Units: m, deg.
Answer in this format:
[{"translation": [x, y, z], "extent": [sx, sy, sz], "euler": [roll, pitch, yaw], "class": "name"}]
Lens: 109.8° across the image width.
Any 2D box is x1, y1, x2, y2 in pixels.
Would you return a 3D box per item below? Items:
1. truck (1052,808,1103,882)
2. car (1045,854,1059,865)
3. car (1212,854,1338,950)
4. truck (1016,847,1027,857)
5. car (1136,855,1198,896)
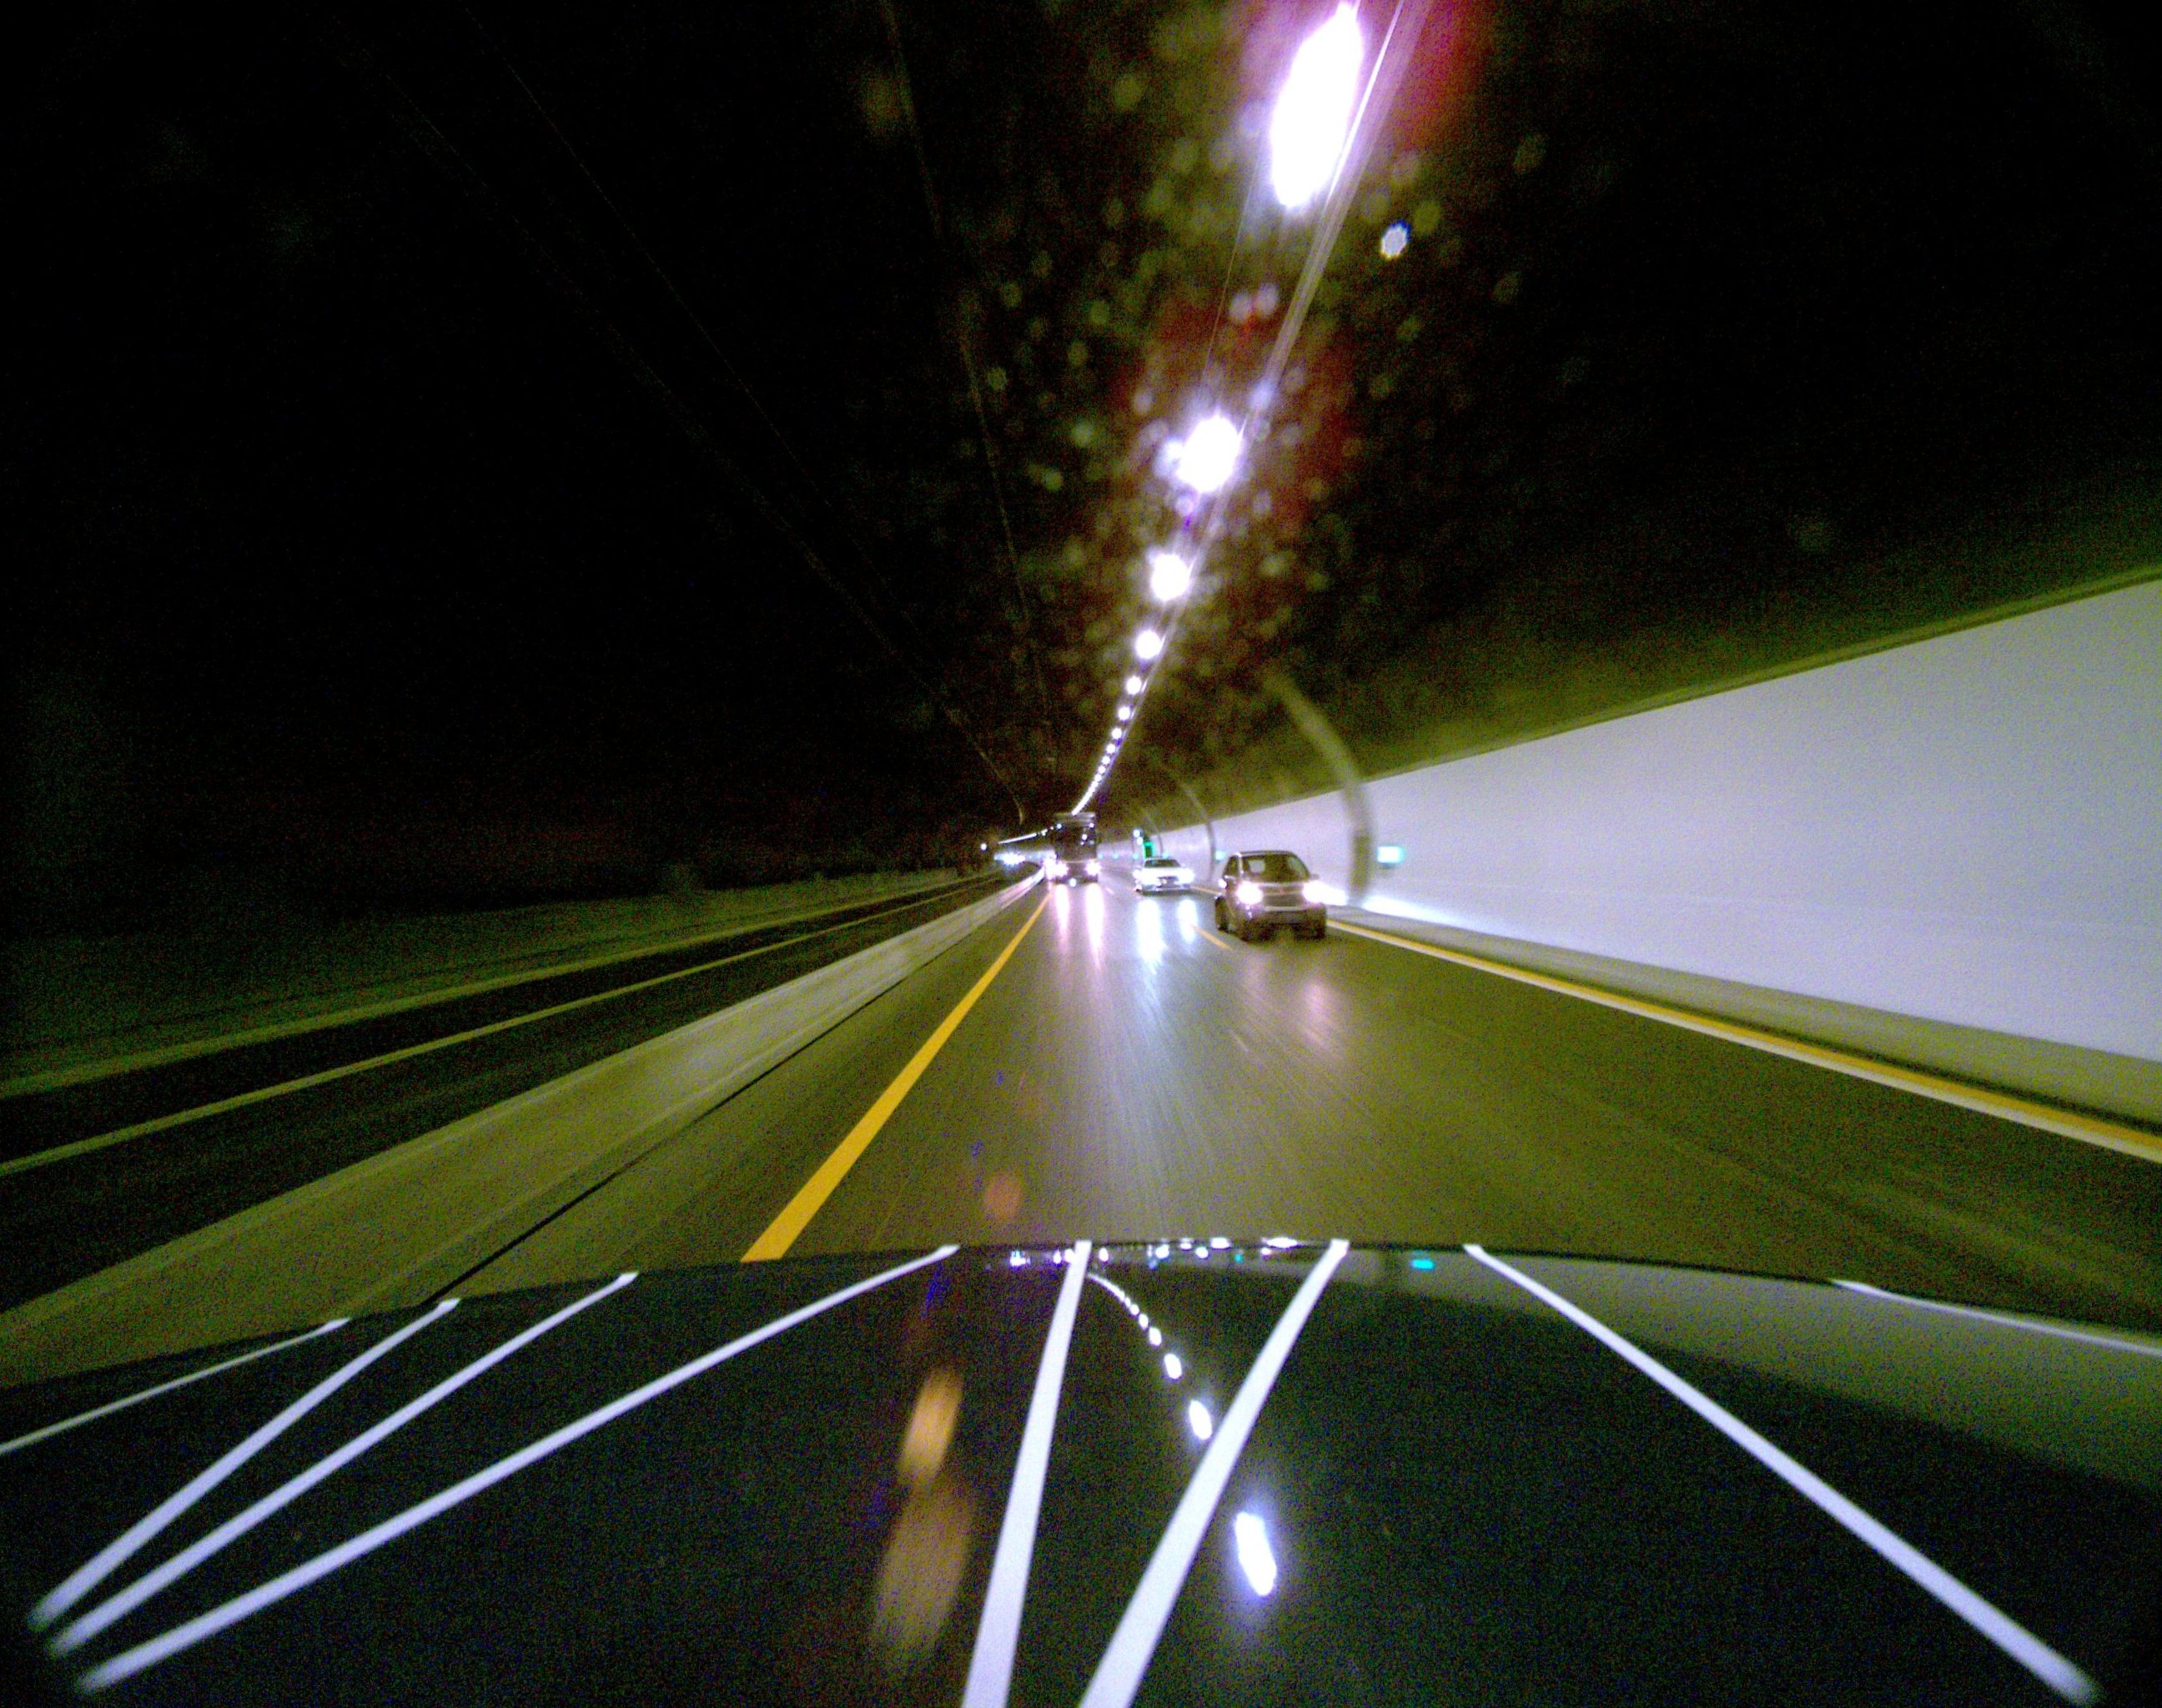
[{"translation": [-0.204, -0.519, 47.356], "extent": [2.742, 4.127, 8.099], "euler": [-2, 0, 0], "class": "truck"}, {"translation": [-4.251, 0.768, 111.103], "extent": [1.999, 1.524, 3.998], "euler": [-2, 0, -4], "class": "car"}, {"translation": [3.416, 0.788, 13.806], "extent": [1.531, 1.508, 2.651], "euler": [-2, 0, -1], "class": "car"}, {"translation": [-18.309, -0.624, 232.335], "extent": [2.611, 2.723, 6.392], "euler": [-2, 0, -9], "class": "truck"}, {"translation": [3.267, 0.781, 29.533], "extent": [1.909, 1.412, 4.060], "euler": [-2, 0, 0], "class": "car"}]
